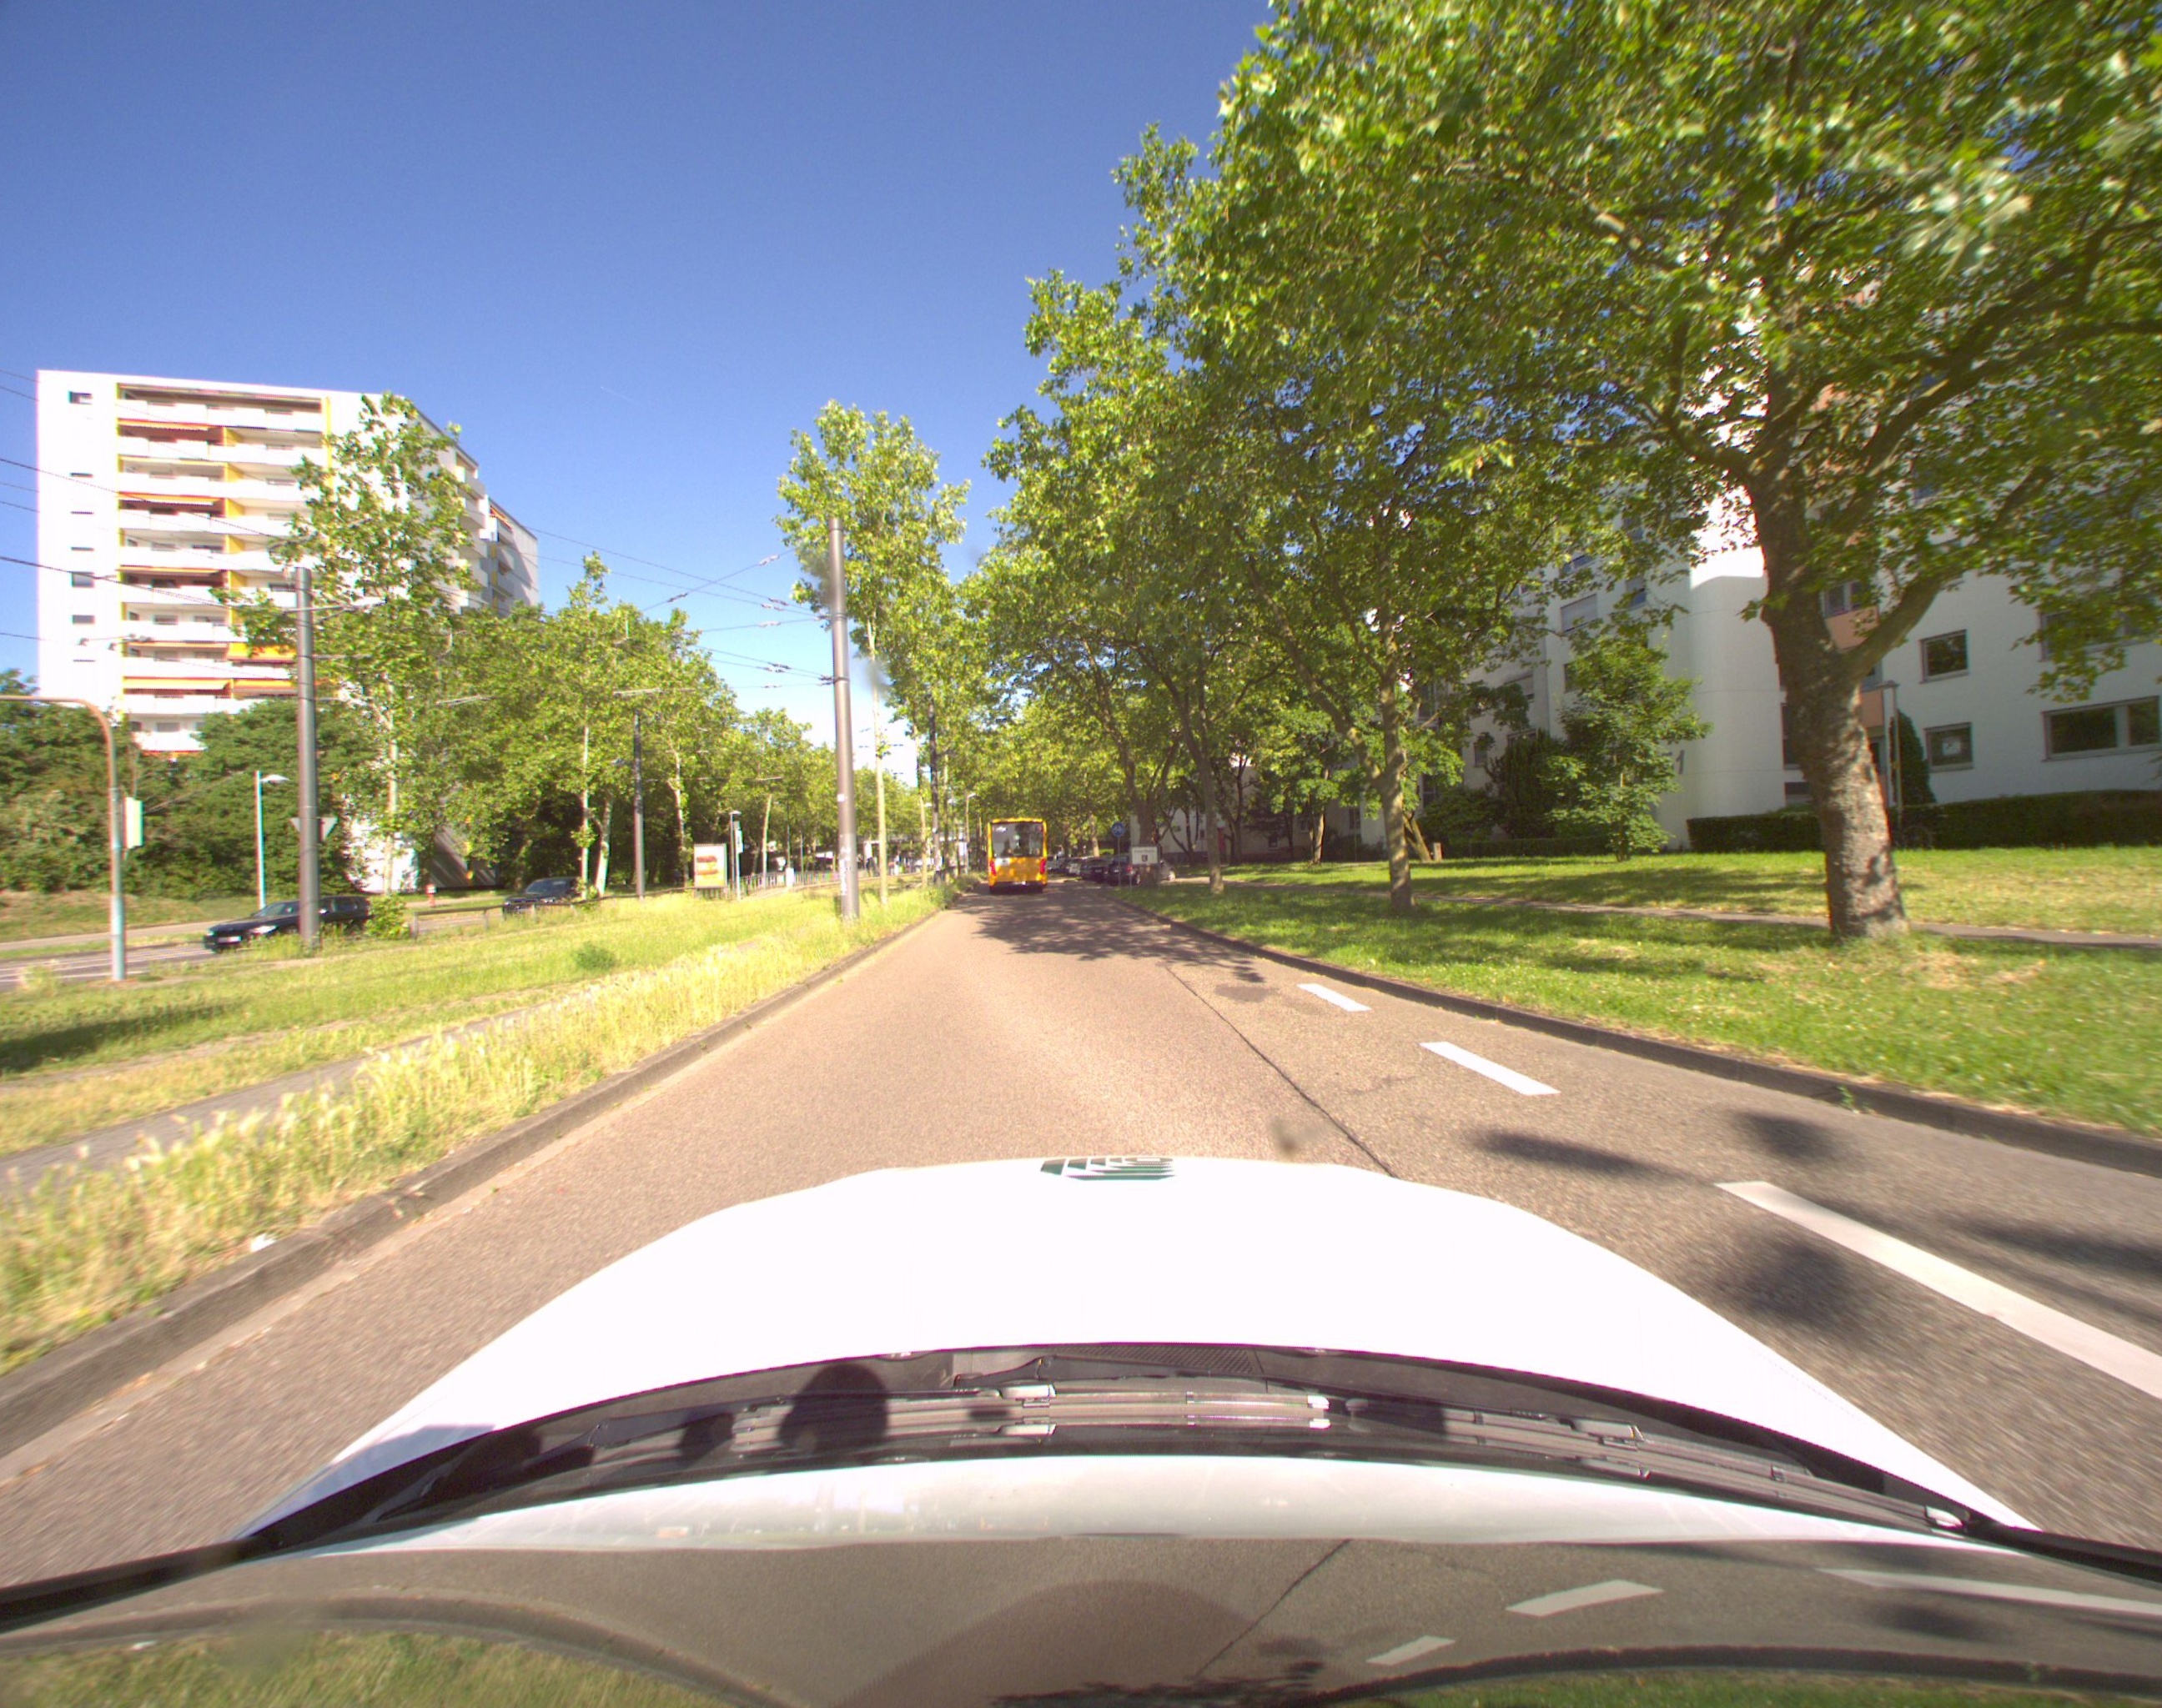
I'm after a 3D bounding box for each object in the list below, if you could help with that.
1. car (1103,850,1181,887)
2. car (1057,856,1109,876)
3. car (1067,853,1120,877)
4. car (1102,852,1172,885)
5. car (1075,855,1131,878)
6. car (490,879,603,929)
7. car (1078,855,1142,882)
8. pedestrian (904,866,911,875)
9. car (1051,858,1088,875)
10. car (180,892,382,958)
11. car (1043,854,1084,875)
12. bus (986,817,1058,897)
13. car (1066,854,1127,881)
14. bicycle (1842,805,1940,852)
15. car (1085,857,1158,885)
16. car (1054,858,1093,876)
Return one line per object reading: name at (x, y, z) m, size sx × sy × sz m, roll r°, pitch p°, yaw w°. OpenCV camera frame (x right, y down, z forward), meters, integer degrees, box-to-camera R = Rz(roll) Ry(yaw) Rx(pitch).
car at (3.035, 0.694, 40.237) m, size 1.777 × 1.592 × 3.749 m, roll -4°, pitch 0°, yaw 44°
car at (0.191, 0.999, 68.344) m, size 1.777 × 1.422 × 4.620 m, roll -4°, pitch 0°, yaw 39°
car at (0.972, 0.863, 63.718) m, size 1.777 × 1.576 × 4.024 m, roll -4°, pitch 0°, yaw 44°
car at (3.016, 0.760, 43.607) m, size 1.777 × 1.492 × 3.606 m, roll -4°, pitch 0°, yaw 43°
car at (1.656, 0.893, 59.928) m, size 1.777 × 1.444 × 4.025 m, roll -4°, pitch 0°, yaw 43°
car at (-20.407, 1.847, 31.333) m, size 1.791 × 1.616 × 4.226 m, roll -3°, pitch -1°, yaw -5°
car at (1.825, 0.883, 50.322) m, size 1.777 × 1.445 × 3.913 m, roll -4°, pitch 0°, yaw 41°
pedestrian at (-25.024, 2.399, 117.497) m, size 0.777 × 1.238 × 0.720 m, roll -2°, pitch -1°, yaw -7°
car at (-1.266, 1.341, 91.007) m, size 1.809 × 1.580 × 4.083 m, roll -5°, pitch -1°, yaw 42°
car at (-22.903, 1.962, 23.591) m, size 1.791 × 1.510 × 4.260 m, roll -3°, pitch -1°, yaw -5°
car at (-1.997, 1.179, 94.123) m, size 1.992 × 2.052 × 4.618 m, roll -5°, pitch -1°, yaw 44°
bus at (-3.114, 0.216, 40.250) m, size 2.896 × 3.267 × 12.190 m, roll -2°, pitch -1°, yaw -6°
car at (1.055, 0.890, 53.810) m, size 1.777 × 1.510 × 4.205 m, roll -4°, pitch 0°, yaw 38°
bicycle at (21.533, -0.660, 21.694) m, size 0.499 × 1.107 × 1.793 m, roll -7°, pitch 1°, yaw -11°
car at (2.350, 0.950, 46.468) m, size 1.777 × 1.318 × 4.172 m, roll -4°, pitch 0°, yaw 44°
car at (-0.737, 1.352, 84.772) m, size 1.776 × 1.510 × 4.240 m, roll -5°, pitch 0°, yaw 37°
